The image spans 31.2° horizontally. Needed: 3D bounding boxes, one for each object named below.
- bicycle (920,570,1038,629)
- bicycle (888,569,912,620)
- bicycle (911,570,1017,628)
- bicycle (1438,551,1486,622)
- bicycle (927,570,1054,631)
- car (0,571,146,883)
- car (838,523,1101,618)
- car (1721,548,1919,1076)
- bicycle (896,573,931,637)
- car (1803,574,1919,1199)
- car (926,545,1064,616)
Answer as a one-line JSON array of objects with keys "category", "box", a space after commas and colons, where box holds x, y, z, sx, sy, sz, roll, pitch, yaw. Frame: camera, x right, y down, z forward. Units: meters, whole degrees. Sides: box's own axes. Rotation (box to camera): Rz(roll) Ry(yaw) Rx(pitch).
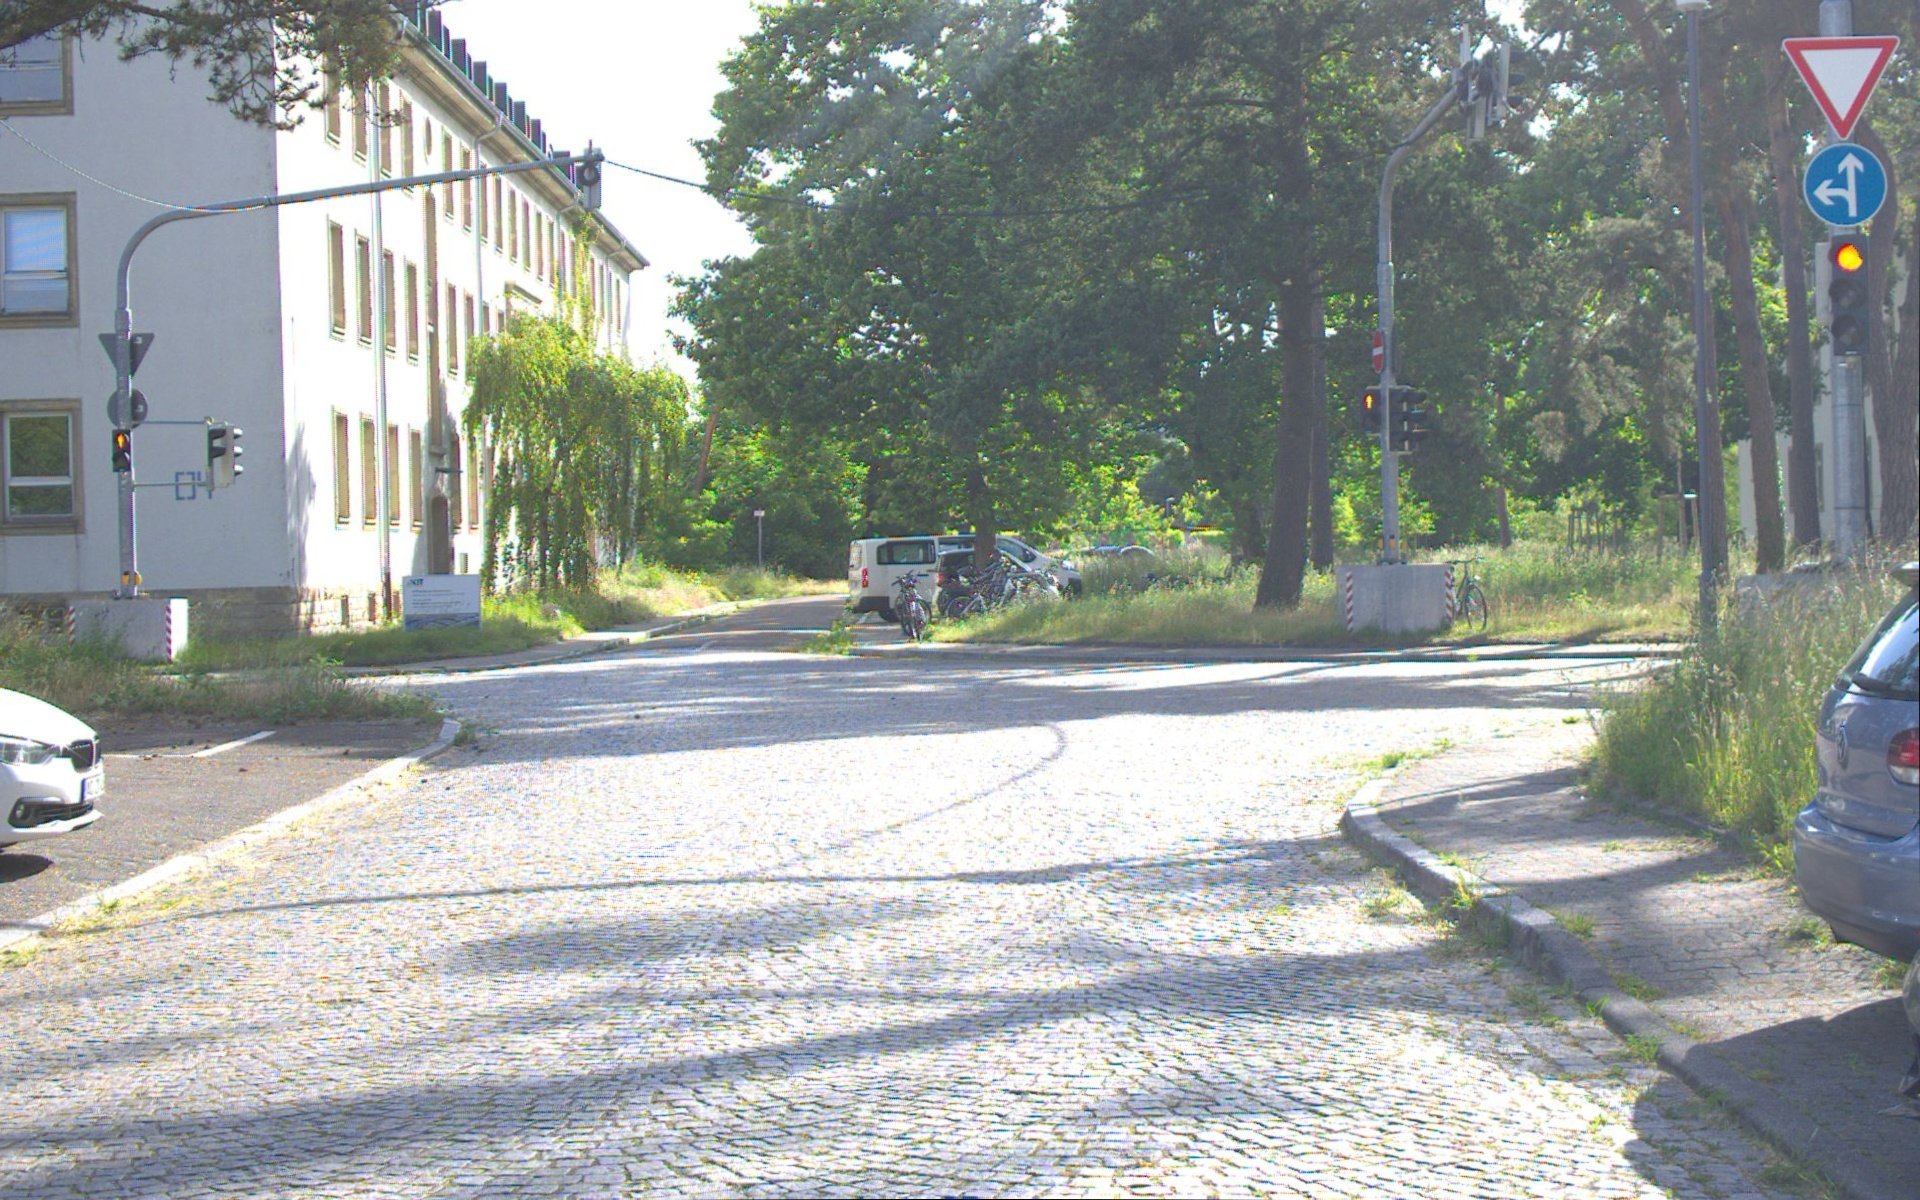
[{"category": "bicycle", "box": [0.337, -0.005, 60.882, 2.004, 1.007, 0.632, 1, 0, -7]}, {"category": "bicycle", "box": [-1.201, -0.111, 68.827, 0.417, 1.007, 1.483, 1, 0, 0]}, {"category": "bicycle", "box": [0.072, -0.019, 62.639, 1.837, 1.007, 0.636, 1, 0, -7]}, {"category": "bicycle", "box": [6.863, -0.183, 47.051, 0.300, 0.957, 1.586, 1, 0, -4]}, {"category": "bicycle", "box": [0.516, 0.007, 59.169, 2.109, 1.007, 0.621, 1, 0, -7]}, {"category": "car", "box": [-6.478, 0.574, 17.358, 4.333, 1.463, 1.831, 1, 1, -3]}, {"category": "car", "box": [0.207, -0.657, 77.244, 5.520, 2.007, 2.001, 1, 0, -18]}, {"category": "car", "box": [4.415, 0.498, 10.250, 3.882, 1.410, 1.637, -3, 1, 1]}, {"category": "bicycle", "box": [-0.759, 0.072, 55.533, 0.467, 1.007, 1.586, 1, 0, -4]}, {"category": "car", "box": [4.348, 0.569, 7.509, 4.559, 1.410, 1.637, -3, 1, 1]}, {"category": "car", "box": [0.737, -0.414, 73.640, 2.781, 1.462, 1.671, 1, 0, -5]}]
